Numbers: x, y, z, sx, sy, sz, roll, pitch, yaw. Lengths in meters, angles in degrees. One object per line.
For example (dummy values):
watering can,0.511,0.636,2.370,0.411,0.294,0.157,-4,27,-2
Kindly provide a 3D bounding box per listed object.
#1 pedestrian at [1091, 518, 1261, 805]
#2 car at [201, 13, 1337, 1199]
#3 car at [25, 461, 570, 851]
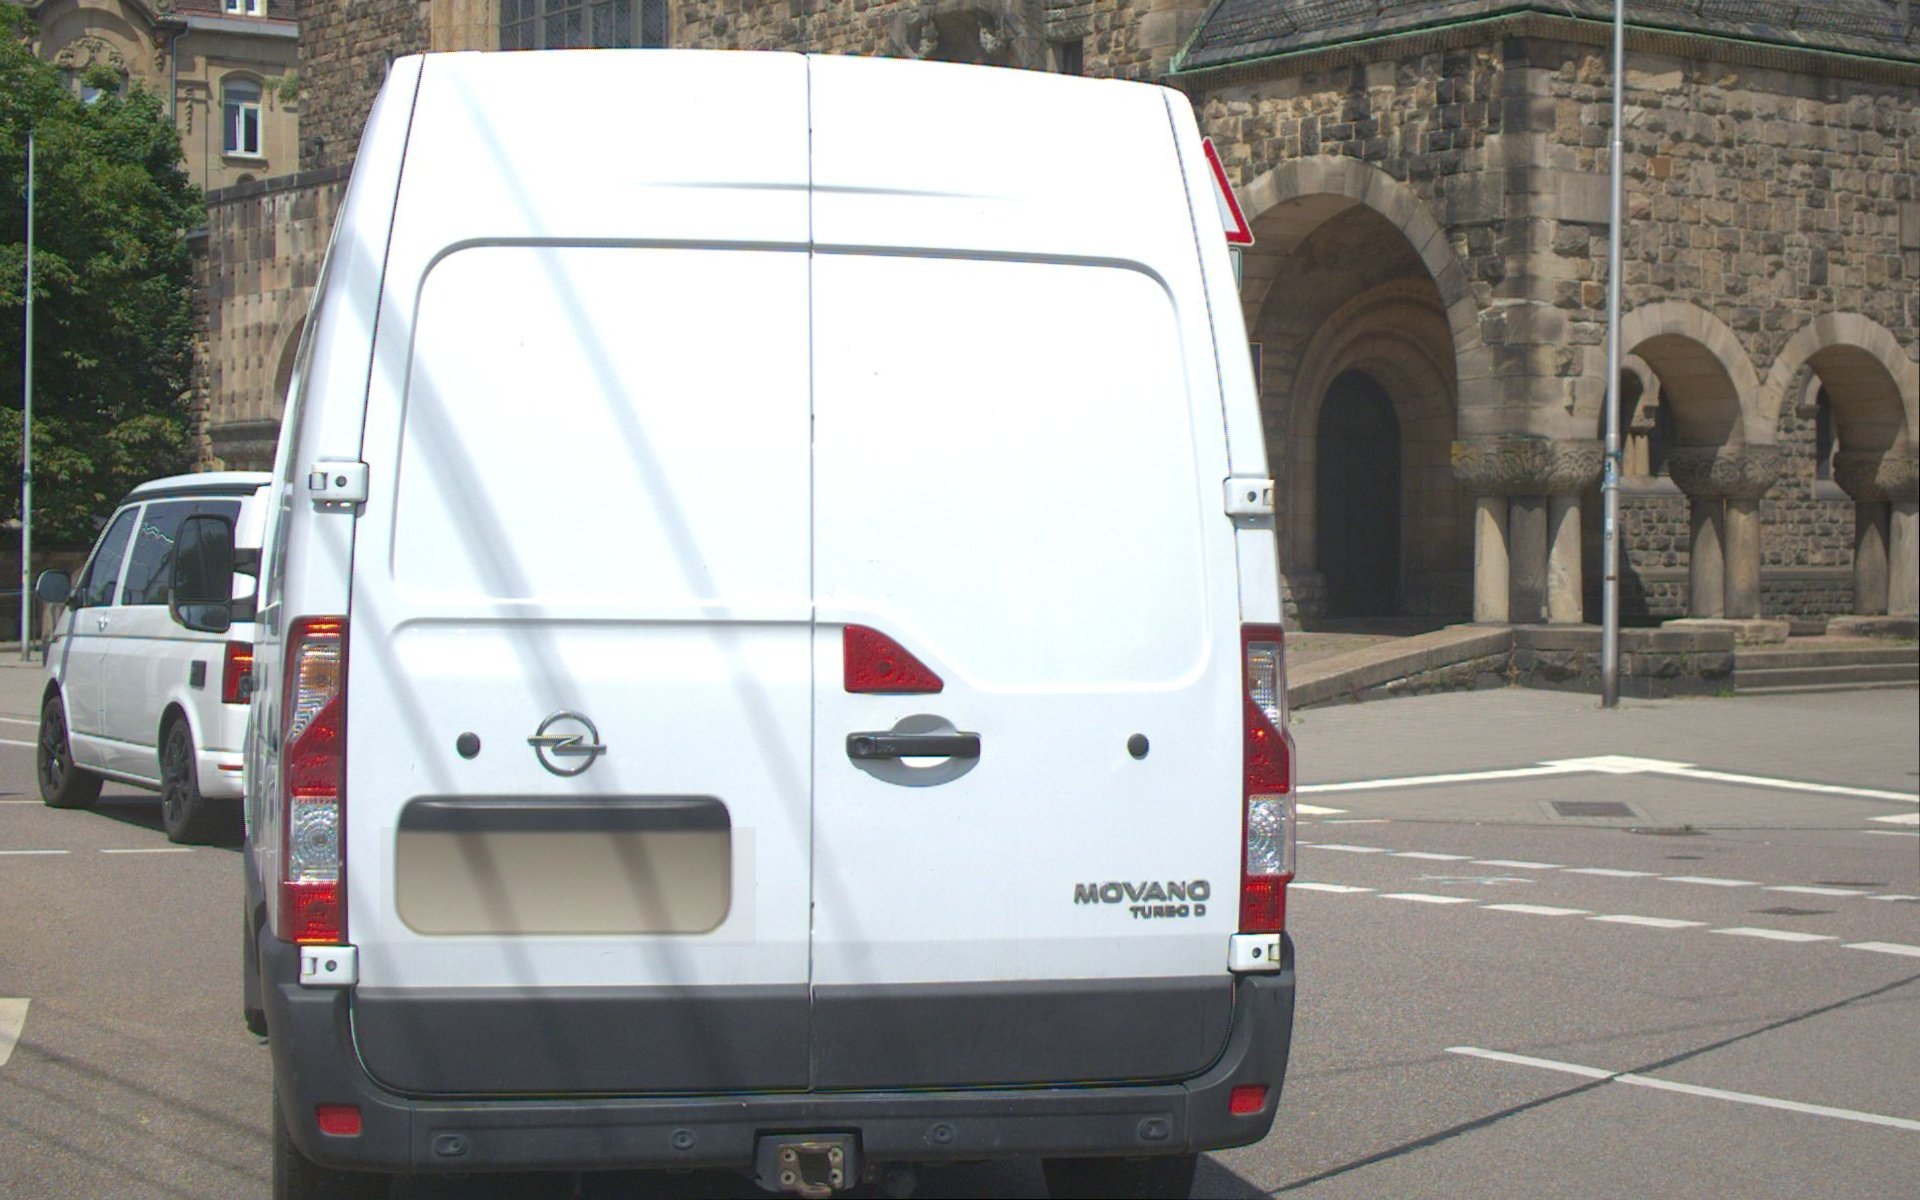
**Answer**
pedestrian,1.396,0.386,22.300,0.742,1.816,0.833,1,0,-29
car,-0.866,0.154,8.906,2.116,2.450,5.056,1,0,-12
car,-3.852,0.260,19.379,1.916,1.937,4.265,1,0,-27
